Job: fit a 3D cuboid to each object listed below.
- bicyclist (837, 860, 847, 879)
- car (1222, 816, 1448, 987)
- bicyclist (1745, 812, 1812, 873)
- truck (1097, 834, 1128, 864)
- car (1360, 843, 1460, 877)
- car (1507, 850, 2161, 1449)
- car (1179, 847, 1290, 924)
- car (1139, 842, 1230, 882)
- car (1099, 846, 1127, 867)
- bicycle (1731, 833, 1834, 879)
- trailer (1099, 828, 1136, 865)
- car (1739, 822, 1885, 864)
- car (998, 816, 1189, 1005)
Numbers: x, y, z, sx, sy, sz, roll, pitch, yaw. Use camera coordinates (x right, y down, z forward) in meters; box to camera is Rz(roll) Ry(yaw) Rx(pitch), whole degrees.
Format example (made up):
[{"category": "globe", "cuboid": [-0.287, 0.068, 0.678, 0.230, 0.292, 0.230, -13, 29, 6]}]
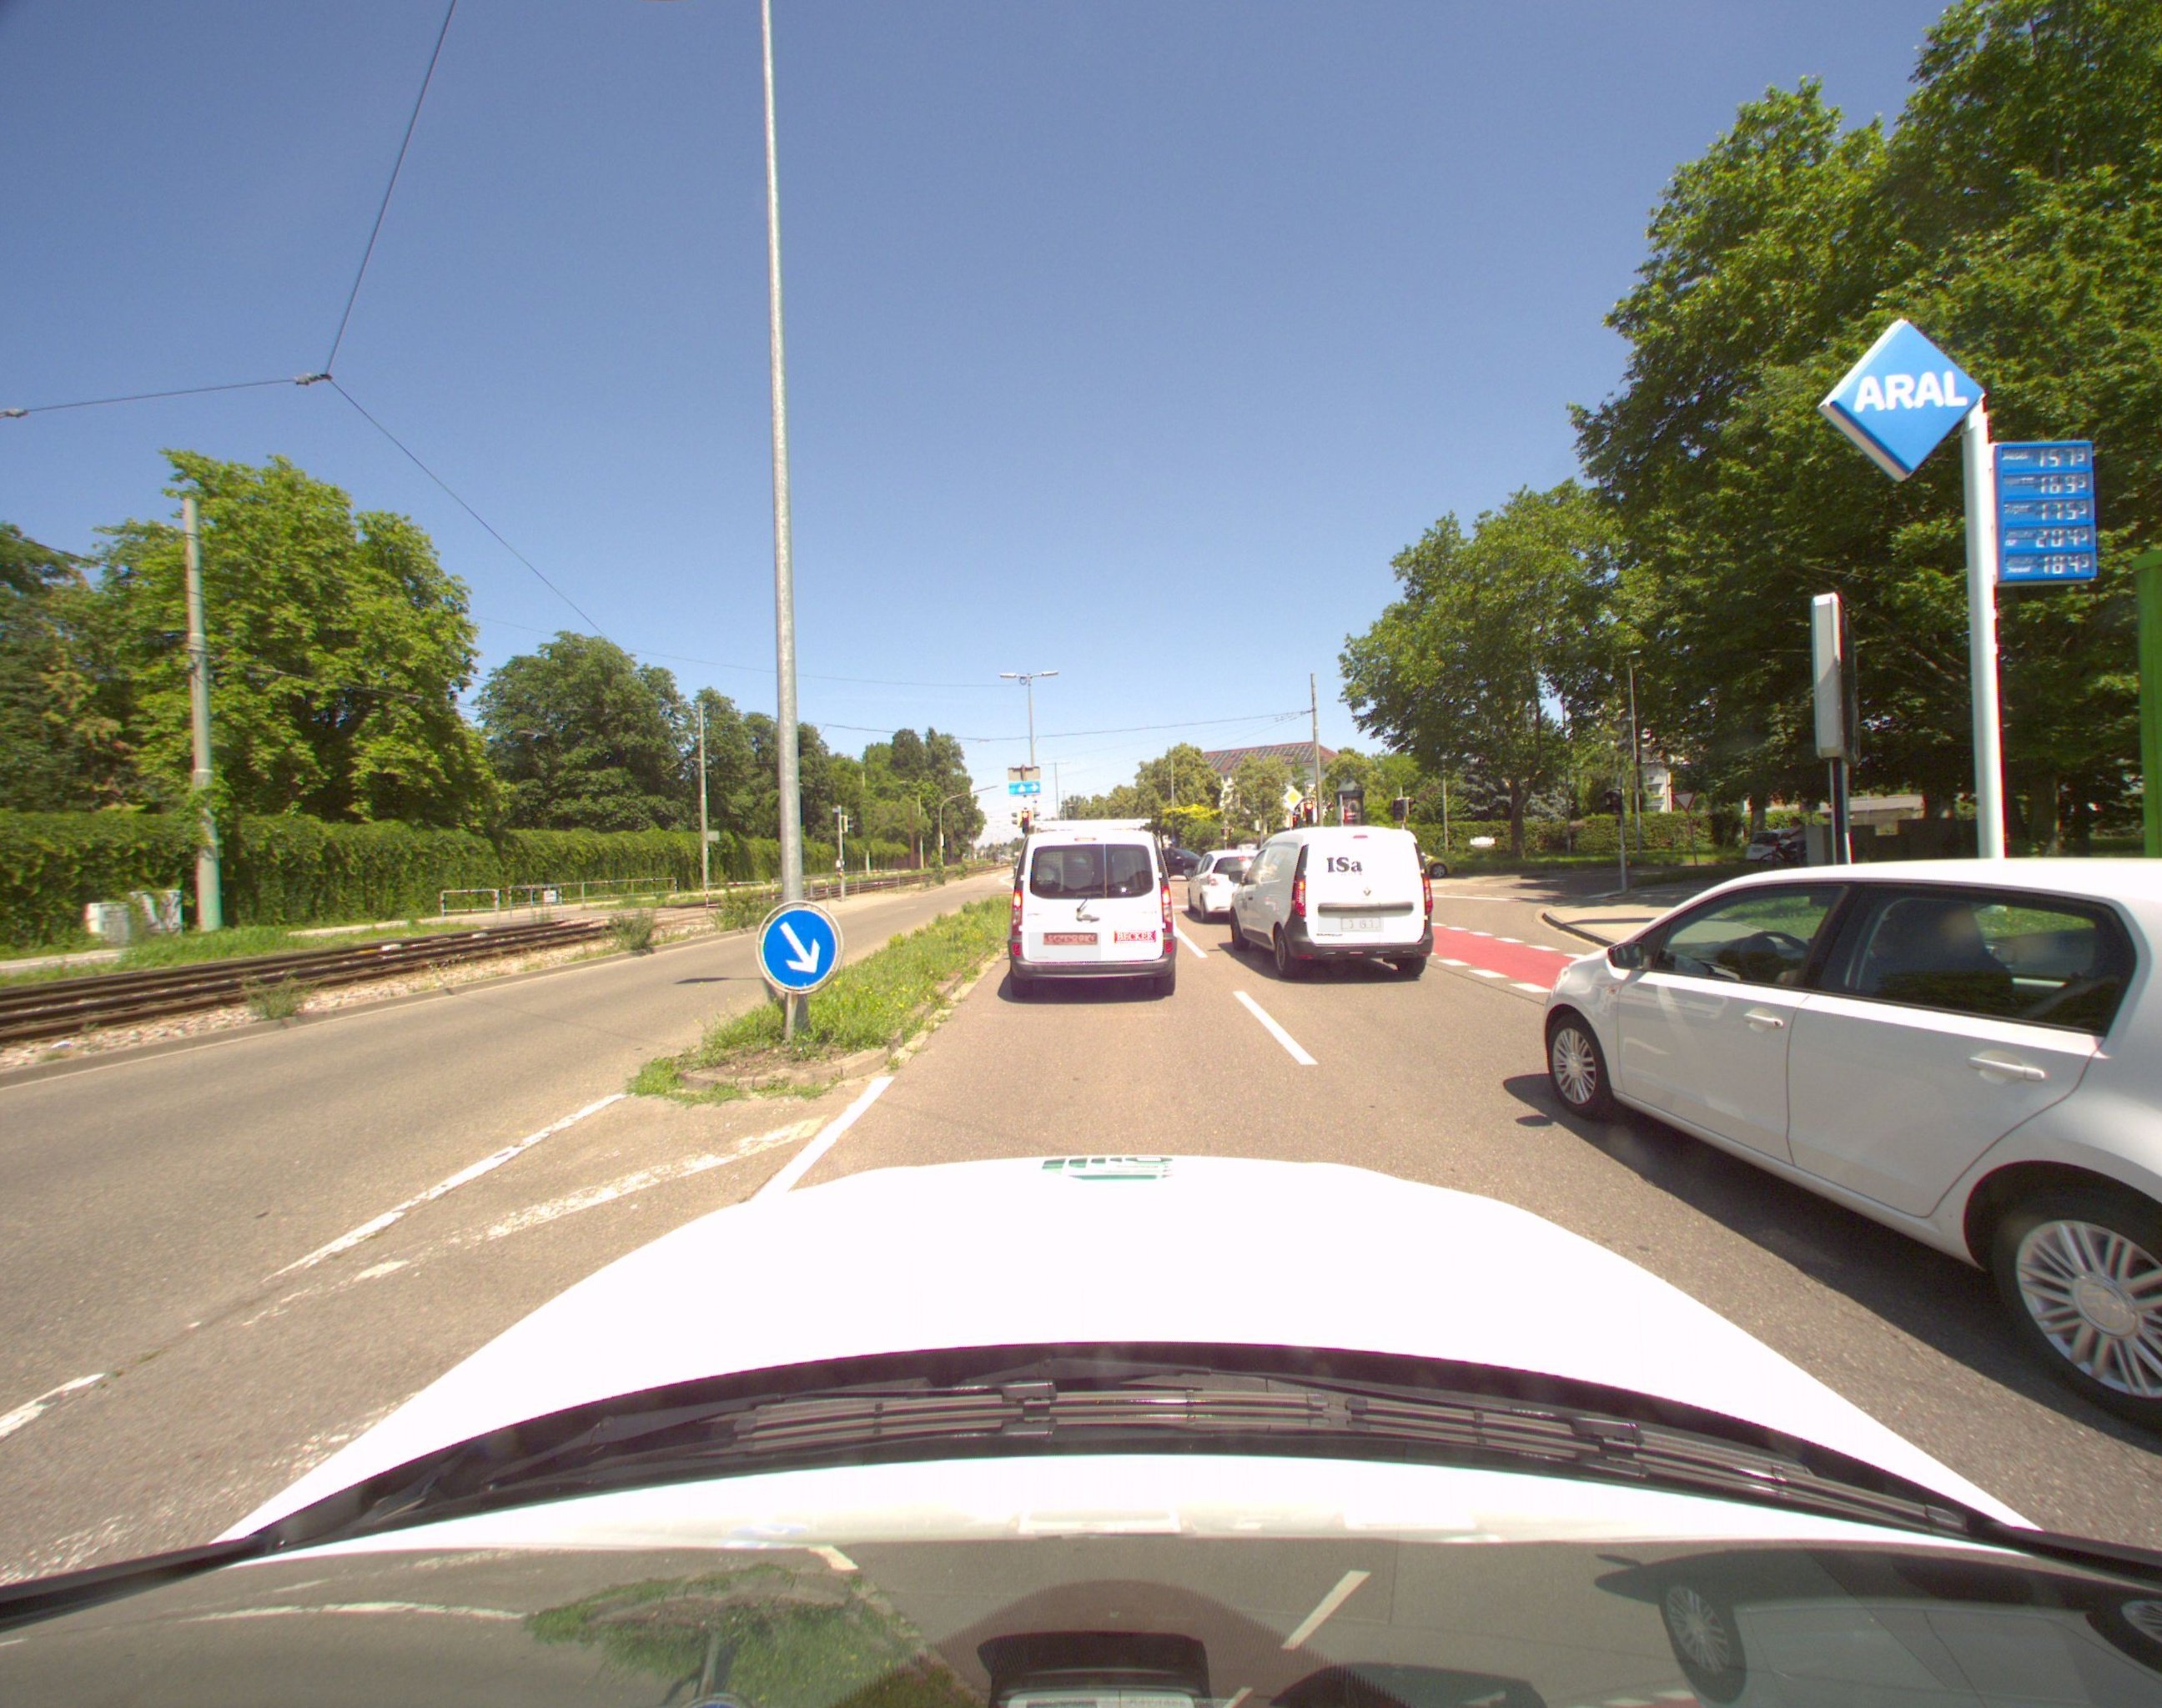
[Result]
[{"category": "bicyclist", "cuboid": [-18.591, 1.180, 63.356, 0.556, 1.478, 0.562, -2, 0, 2]}, {"category": "car", "cuboid": [3.147, 0.514, 10.965, 1.705, 1.830, 4.012, -2, 0, -1]}, {"category": "bicyclist", "cuboid": [20.575, -0.336, 24.056, 0.952, 1.739, 1.131, -2, 0, -1]}, {"category": "truck", "cuboid": [4.035, -0.590, 106.144, 3.565, 3.632, 8.806, -2, 0, 0]}, {"category": "car", "cuboid": [14.539, 0.272, 36.193, 3.958, 1.379, 1.551, -2, 0, 16]}, {"category": "car", "cuboid": [3.475, 0.713, 3.448, 1.601, 1.451, 3.522, 0, 0, 2]}, {"category": "car", "cuboid": [3.326, 0.625, 18.336, 1.750, 1.486, 4.000, -2, 0, 1]}, {"category": "car", "cuboid": [5.131, 0.388, 40.570, 3.948, 1.860, 2.013, -2, 0, 40]}, {"category": "car", "cuboid": [3.109, 0.240, 79.251, 1.993, 2.013, 3.988, -2, 0, -8]}, {"category": "bicycle", "cuboid": [20.718, 0.057, 24.086, 2.255, 1.269, 0.886, -2, 0, -1]}, {"category": "trailer", "cuboid": [4.285, -0.825, 97.186, 3.519, 4.050, 8.969, -2, 0, -2]}, {"category": "car", "cuboid": [31.708, -0.476, 35.445, 4.419, 1.617, 2.003, -2, 0, 5]}, {"category": "car", "cuboid": [0.139, 0.556, 9.977, 1.860, 1.836, 3.848, -1, 0, 0]}]
